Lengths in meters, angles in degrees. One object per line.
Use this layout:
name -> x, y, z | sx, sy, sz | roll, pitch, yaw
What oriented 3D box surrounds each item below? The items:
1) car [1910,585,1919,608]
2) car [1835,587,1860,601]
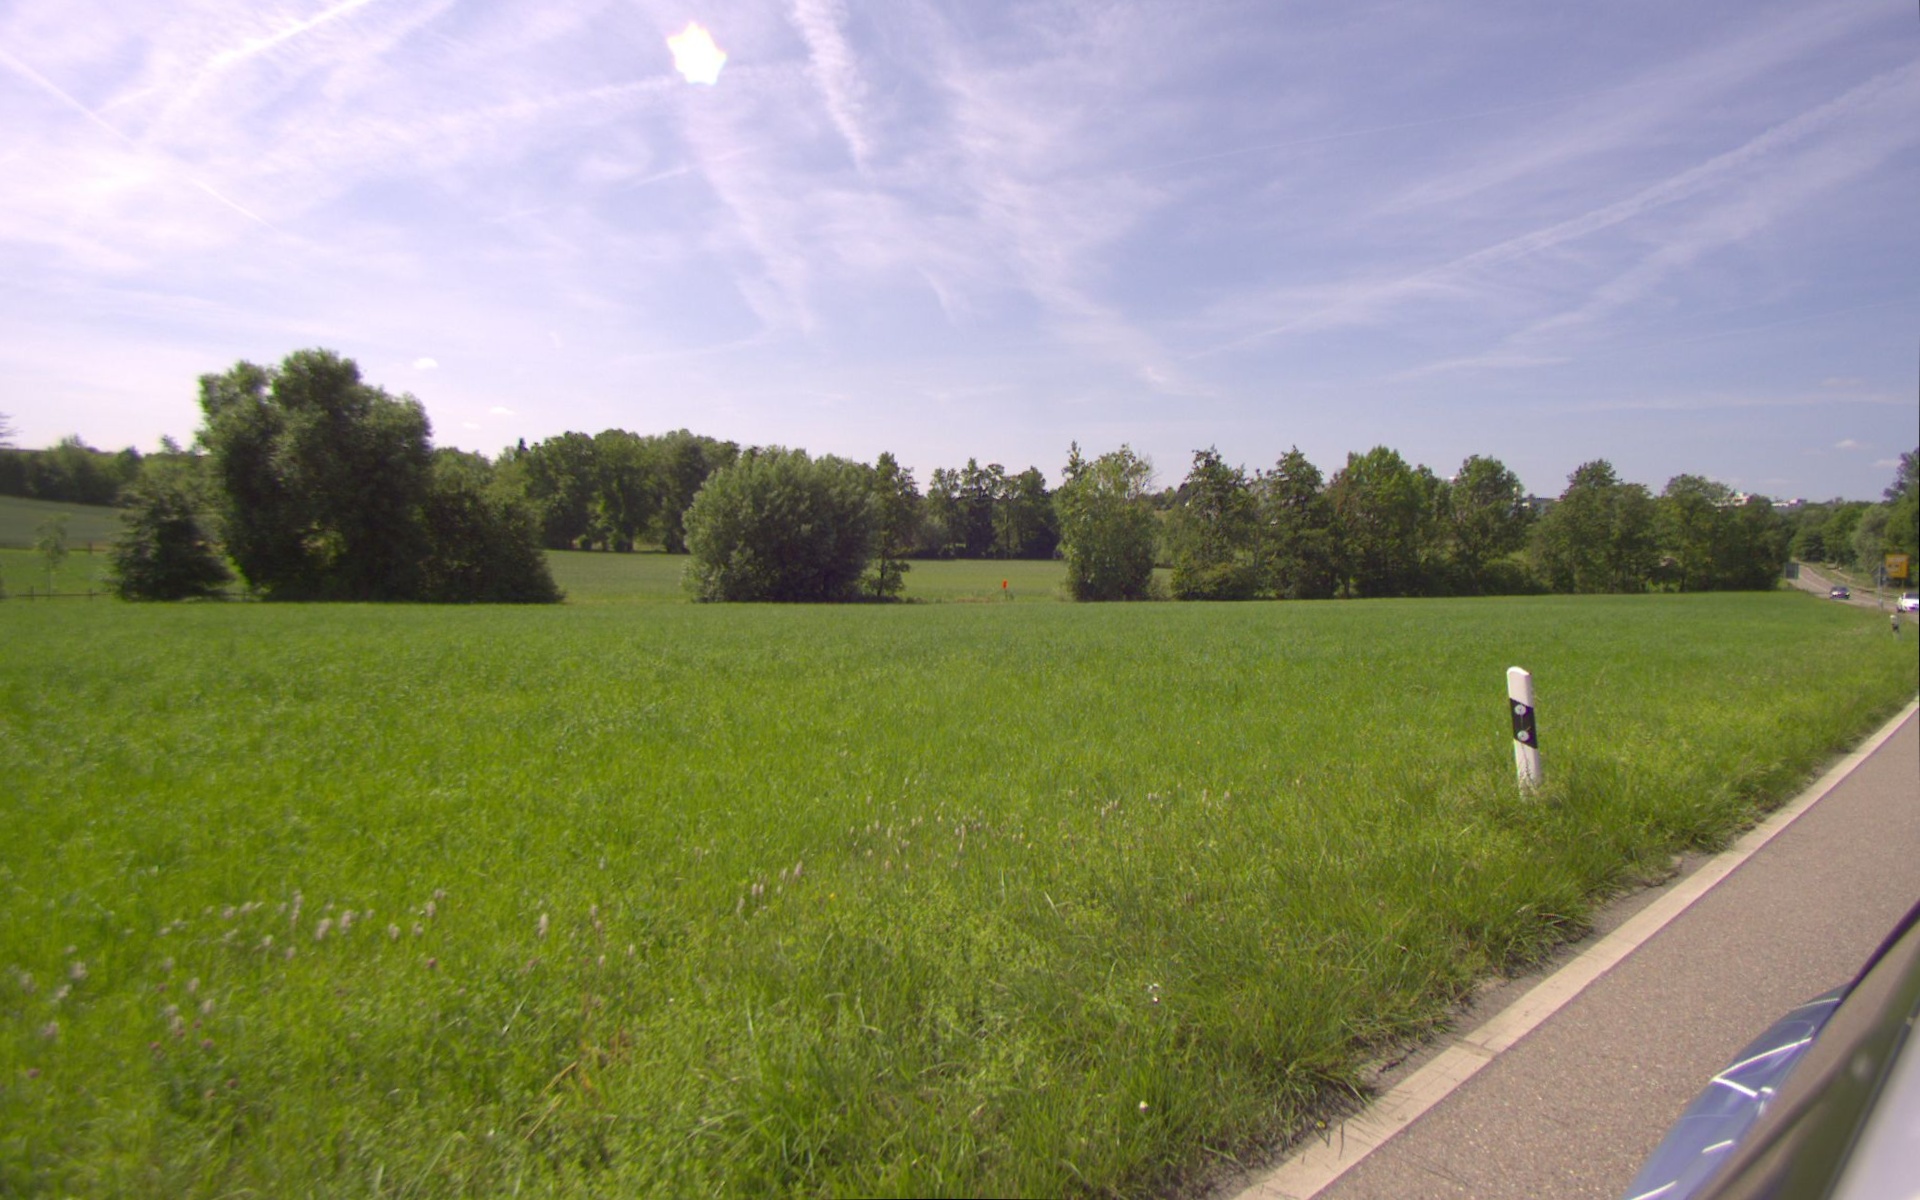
car -> 68.268, -0.258, 71.172 | 1.993, 1.605, 3.939 | 1, 1, 42
car -> 108.225, -0.775, 123.472 | 1.989, 1.605, 3.946 | 2, 1, 37
